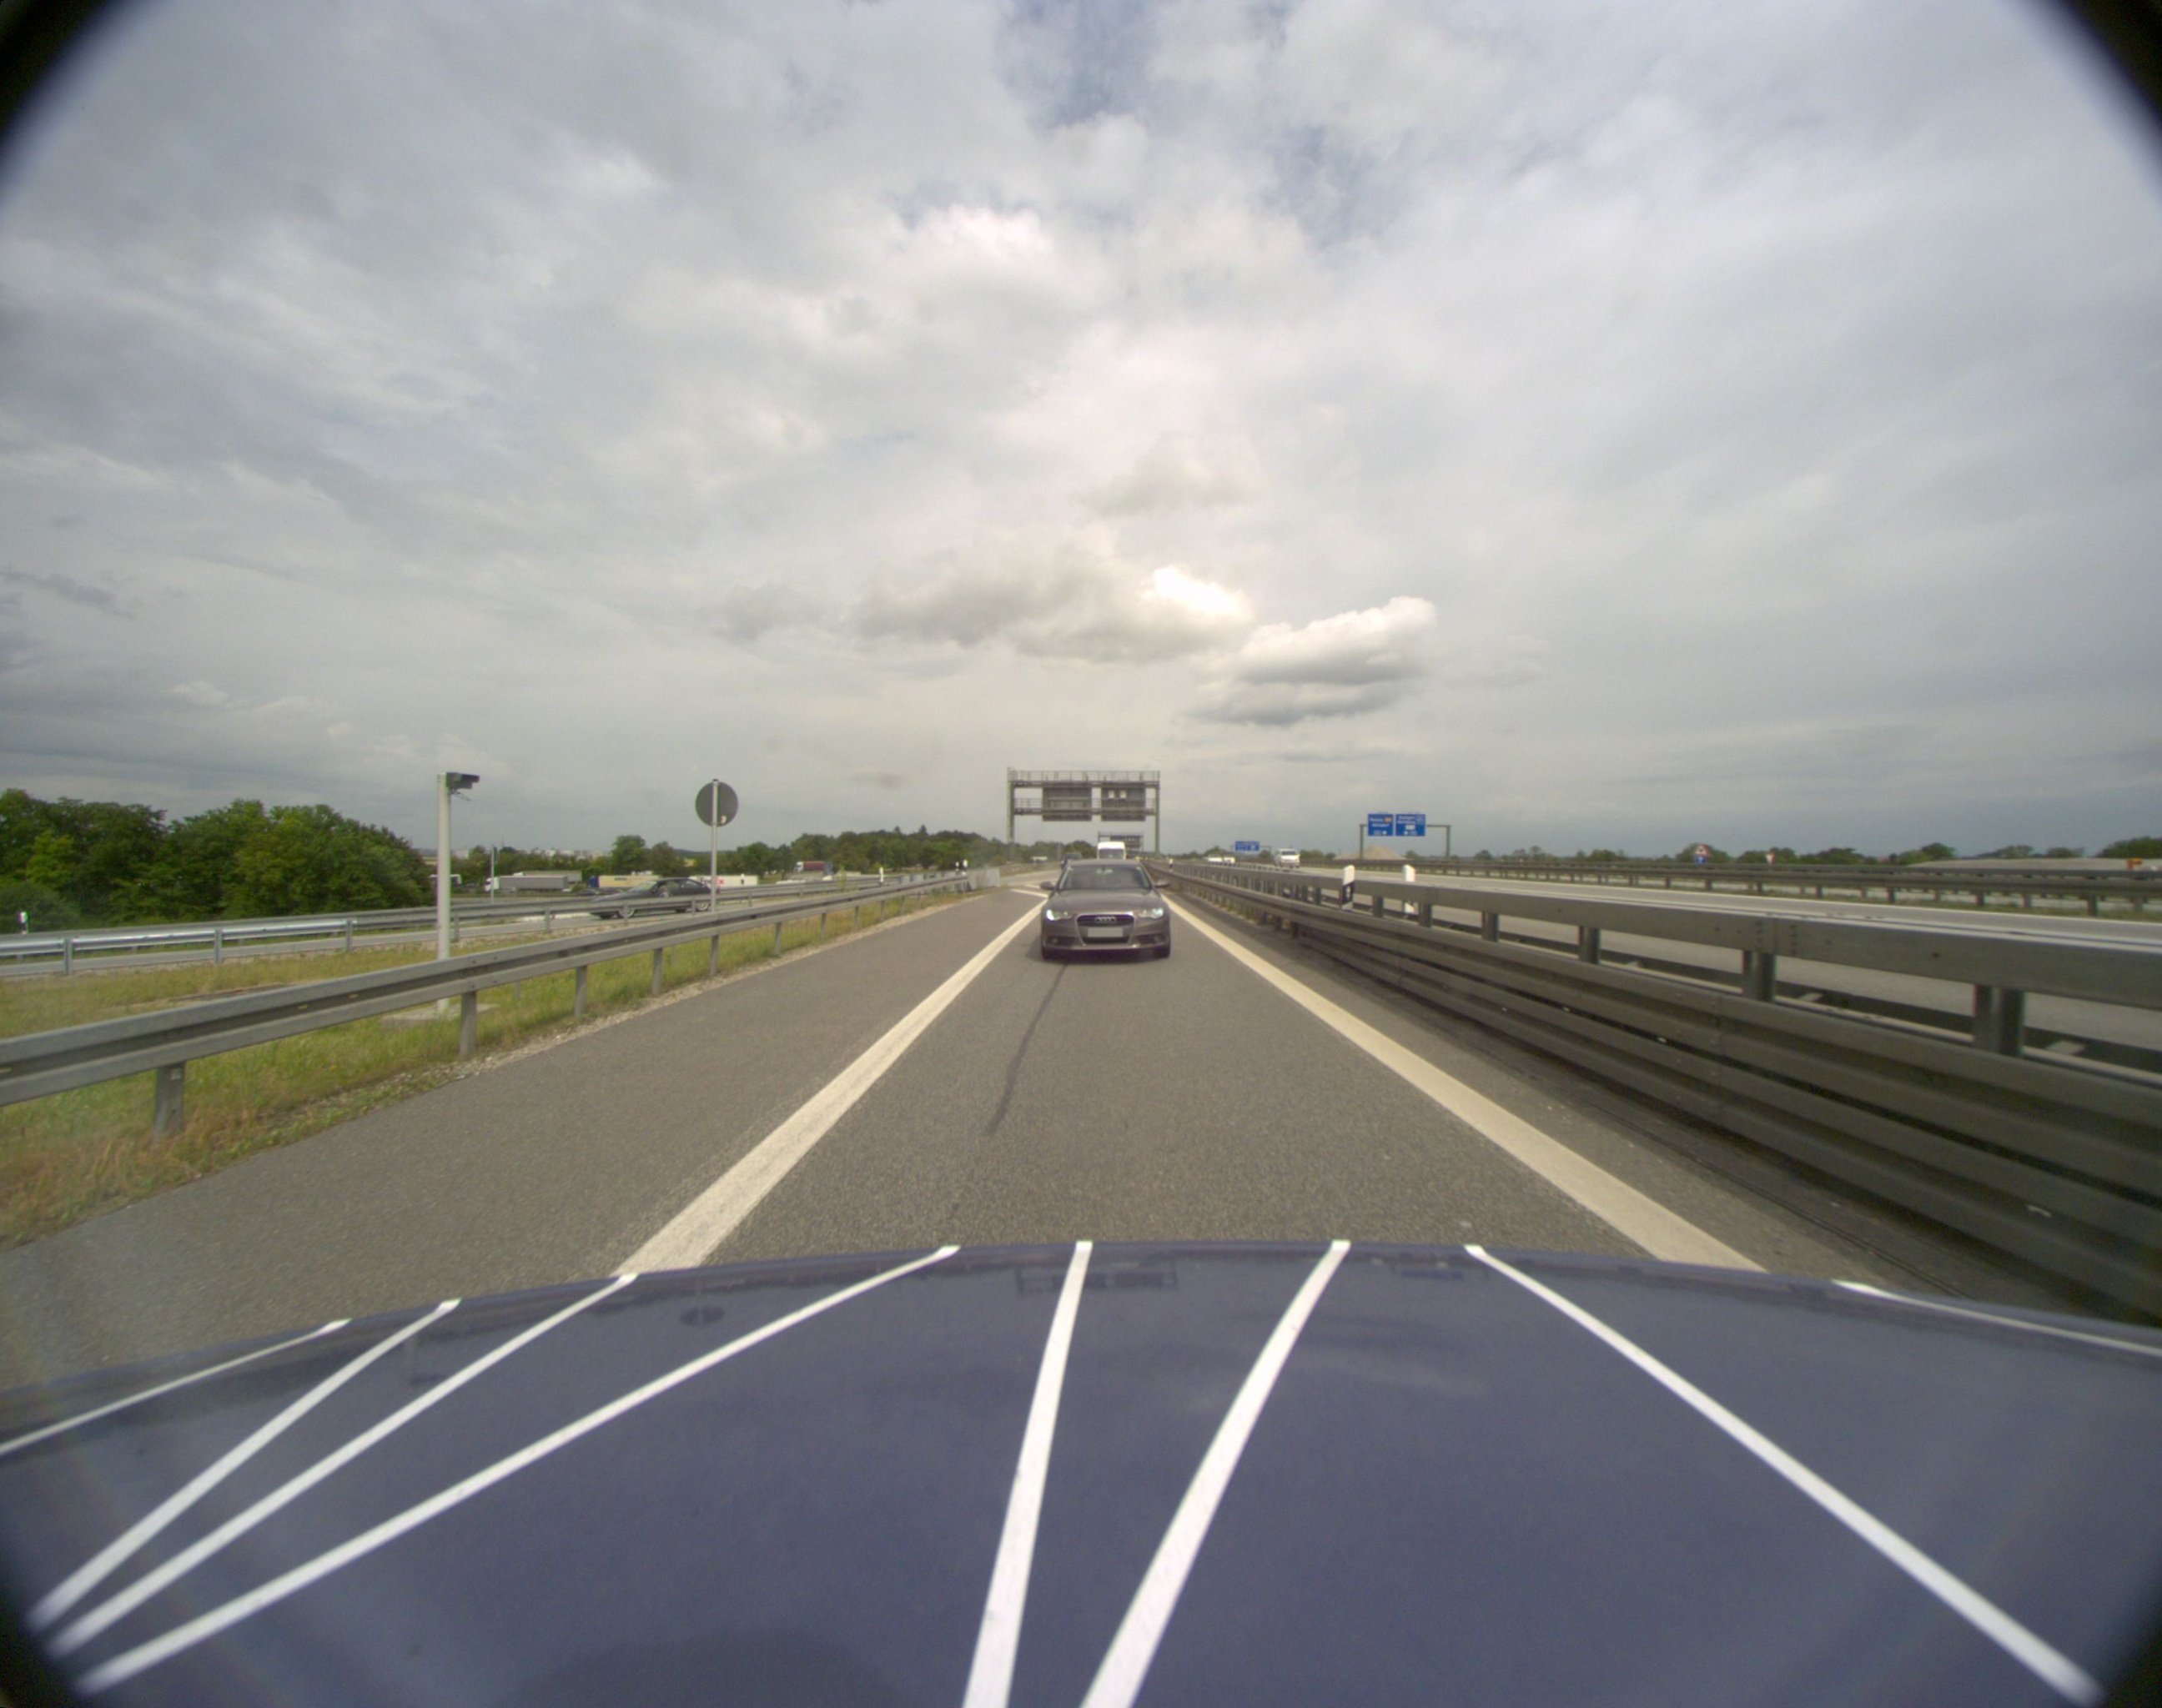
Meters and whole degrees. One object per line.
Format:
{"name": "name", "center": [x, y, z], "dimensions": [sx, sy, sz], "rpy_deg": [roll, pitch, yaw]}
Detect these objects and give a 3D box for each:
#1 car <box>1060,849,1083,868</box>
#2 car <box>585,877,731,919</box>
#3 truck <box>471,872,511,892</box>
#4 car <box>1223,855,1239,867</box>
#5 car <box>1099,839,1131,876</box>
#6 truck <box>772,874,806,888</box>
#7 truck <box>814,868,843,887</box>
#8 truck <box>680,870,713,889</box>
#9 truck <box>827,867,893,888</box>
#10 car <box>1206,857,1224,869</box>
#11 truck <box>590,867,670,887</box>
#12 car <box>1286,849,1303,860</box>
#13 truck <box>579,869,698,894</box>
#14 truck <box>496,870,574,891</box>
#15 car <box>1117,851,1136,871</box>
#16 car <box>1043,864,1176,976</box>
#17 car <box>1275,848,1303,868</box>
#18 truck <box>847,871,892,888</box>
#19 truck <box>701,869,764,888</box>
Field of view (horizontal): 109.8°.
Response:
{"name": "car", "center": [-0.909, 0.439, 74.676], "dimensions": [1.929, 1.761, 4.001], "rpy_deg": [-1, -1, 3]}
{"name": "car", "center": [-15.432, 1.577, 27.971], "dimensions": [1.705, 1.273, 4.374], "rpy_deg": [-2, -1, 31]}
{"name": "truck", "center": [-141.119, 6.558, 181.893], "dimensions": [6.294, 4.484, 3.929], "rpy_deg": [-1, 0, -9]}
{"name": "car", "center": [25.039, 1.148, 127.223], "dimensions": [1.998, 1.870, 4.001], "rpy_deg": [-1, -1, 2]}
{"name": "car", "center": [2.410, 0.287, 54.090], "dimensions": [2.119, 2.439, 6.153], "rpy_deg": [-1, -1, 2]}
{"name": "truck", "center": [-72.804, 6.694, 189.770], "dimensions": [7.568, 3.178, 2.230], "rpy_deg": [-1, 0, -10]}
{"name": "truck", "center": [-65.205, 6.116, 196.314], "dimensions": [6.294, 4.647, 3.928], "rpy_deg": [-1, 1, -10]}
{"name": "truck", "center": [-96.144, 6.277, 189.957], "dimensions": [6.294, 4.484, 3.929], "rpy_deg": [-1, 0, -10]}
{"name": "truck", "center": [-57.339, 6.085, 197.654], "dimensions": [16.176, 4.673, 3.990], "rpy_deg": [-1, 1, -10]}
{"name": "car", "center": [19.773, 1.289, 112.296], "dimensions": [1.998, 1.739, 4.001], "rpy_deg": [-1, -1, 2]}
{"name": "truck", "center": [-111.291, 5.573, 187.805], "dimensions": [16.367, 4.527, 4.005], "rpy_deg": [-1, 0, -10]}
{"name": "car", "center": [40.007, 0.146, 142.342], "dimensions": [1.998, 1.851, 4.505], "rpy_deg": [-4, 0, 4]}
{"name": "truck", "center": [-83.514, 5.058, 143.809], "dimensions": [19.052, 4.036, 3.989], "rpy_deg": [-1, 1, -13]}
{"name": "truck", "center": [-131.693, 6.281, 183.469], "dimensions": [14.886, 4.527, 4.005], "rpy_deg": [-1, 0, -9]}
{"name": "car", "center": [4.565, 0.671, 75.986], "dimensions": [1.845, 1.870, 4.290], "rpy_deg": [-1, -1, 4]}
{"name": "car", "center": [0.478, 0.915, 12.148], "dimensions": [1.747, 1.380, 4.000], "rpy_deg": [-1, 0, 3]}
{"name": "car", "center": [21.659, 0.437, 79.419], "dimensions": [1.998, 2.001, 4.467], "rpy_deg": [-1, -1, 5]}
{"name": "truck", "center": [-53.612, 6.423, 192.952], "dimensions": [10.787, 4.047, 3.238], "rpy_deg": [-1, 0, -13]}
{"name": "truck", "center": [-87.699, 6.156, 191.516], "dimensions": [13.793, 4.527, 4.005], "rpy_deg": [-1, 0, -10]}
